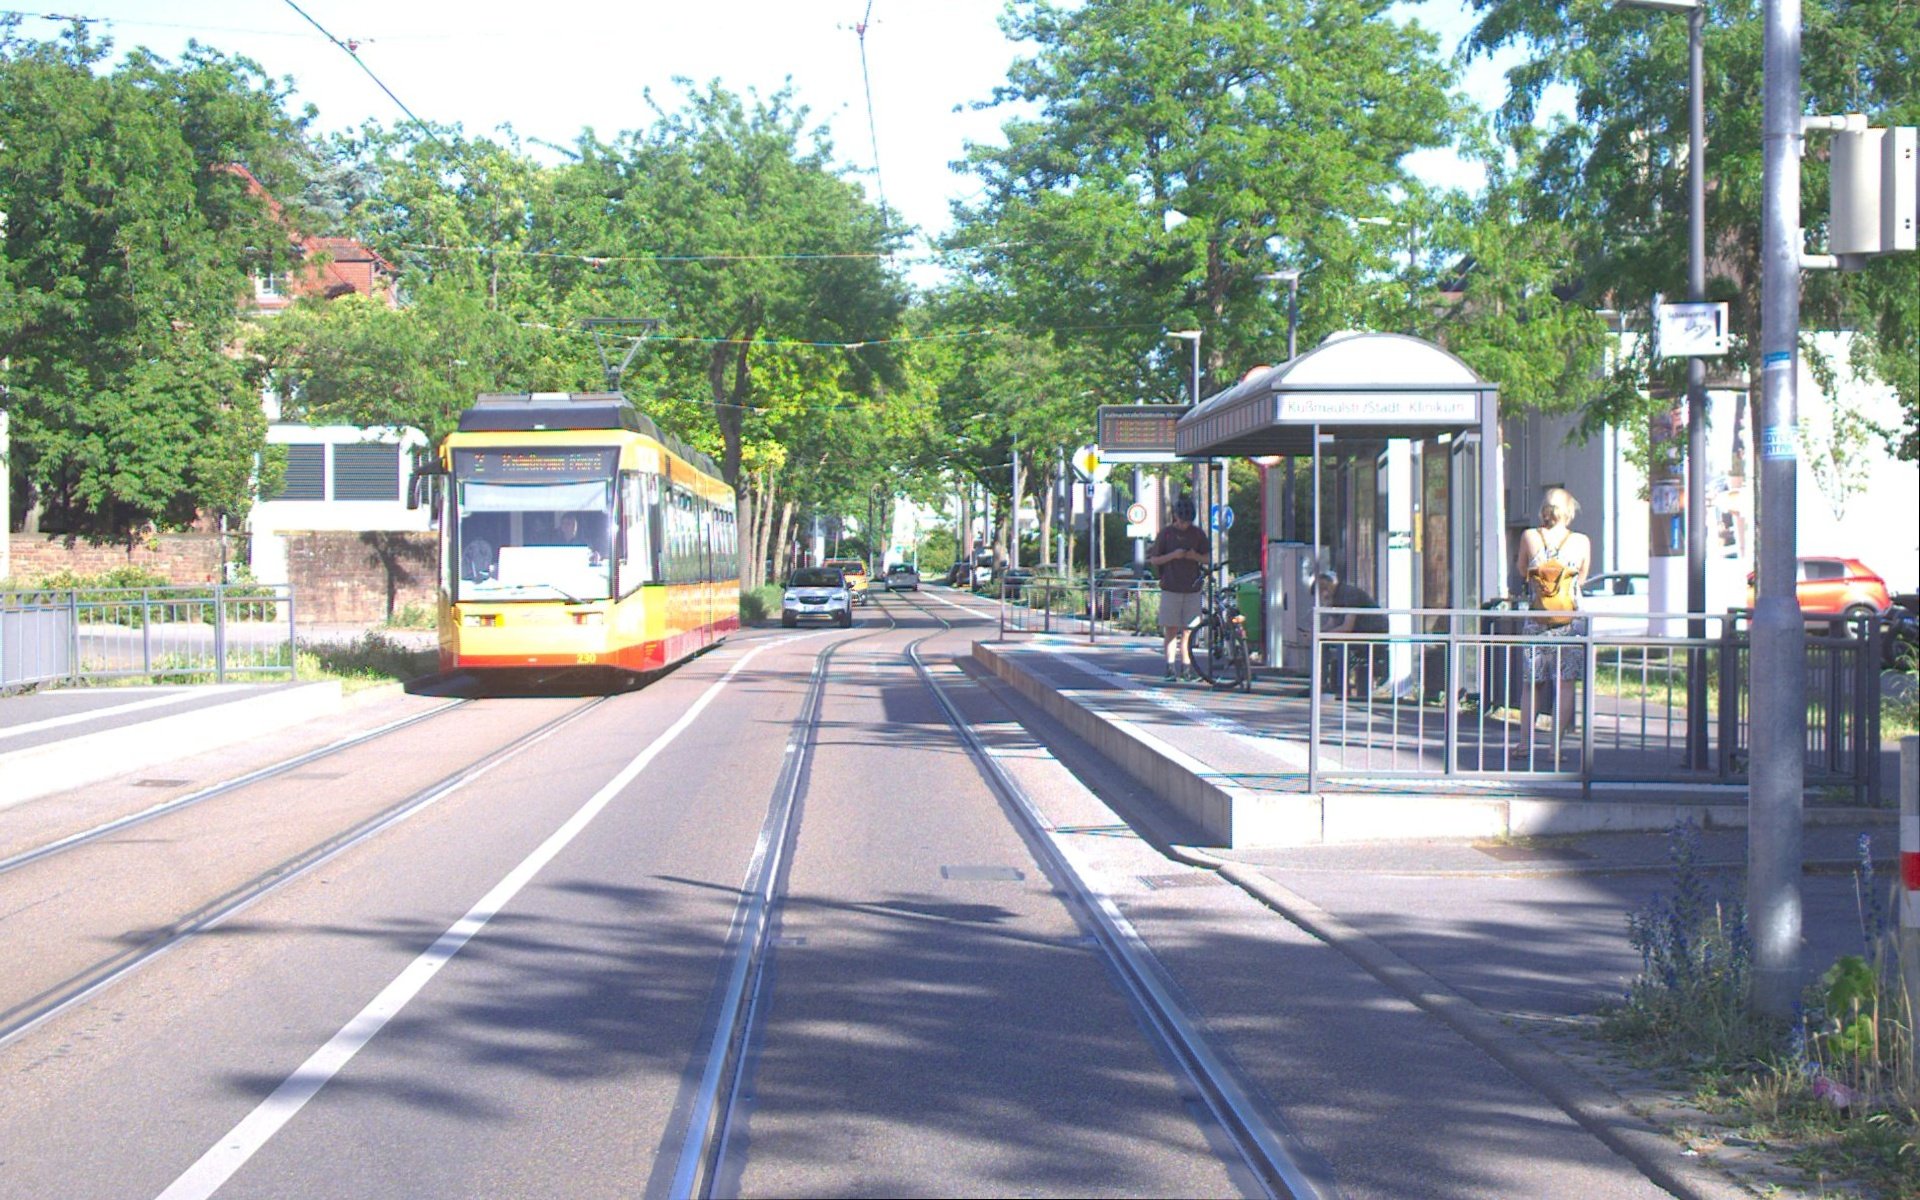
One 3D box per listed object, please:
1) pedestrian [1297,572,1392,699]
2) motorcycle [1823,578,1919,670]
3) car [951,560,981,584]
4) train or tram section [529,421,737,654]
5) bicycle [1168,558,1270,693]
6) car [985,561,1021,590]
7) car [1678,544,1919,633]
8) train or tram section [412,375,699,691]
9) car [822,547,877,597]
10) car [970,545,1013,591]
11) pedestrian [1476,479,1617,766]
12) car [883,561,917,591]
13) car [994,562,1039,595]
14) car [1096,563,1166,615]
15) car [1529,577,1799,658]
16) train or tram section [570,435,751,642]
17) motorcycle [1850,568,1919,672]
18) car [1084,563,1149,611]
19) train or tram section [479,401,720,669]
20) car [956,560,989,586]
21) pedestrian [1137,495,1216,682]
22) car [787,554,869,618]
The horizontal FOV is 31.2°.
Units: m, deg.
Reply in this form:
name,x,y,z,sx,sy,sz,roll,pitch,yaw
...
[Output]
name,x,y,z,sx,sy,sz,roll,pitch,yaw
pedestrian,3.477,0.314,31.108,0.738,1.113,0.658,1,1,-2
motorcycle,12.255,0.299,44.340,1.998,1.154,0.862,0,0,-8
car,0.433,-2.049,249.290,2.003,1.669,4.392,-2,1,2
train or tram section,-5.073,-0.973,54.388,2.803,3.448,6.669,0,1,-2
bicycle,2.427,0.226,32.427,0.619,1.225,1.967,1,1,-6
car,2.241,-1.280,178.209,1.627,1.393,3.646,-3,1,-2
car,15.941,-0.227,65.198,4.162,1.636,1.982,0,1,-3
train or tram section,-4.692,-0.777,41.037,2.803,3.448,6.669,0,1,-2
car,-4.440,-1.113,137.758,1.993,1.959,4.935,0,1,-4
car,1.831,-1.862,199.647,2.245,2.645,5.586,0,1,-2
pedestrian,3.553,0.133,20.869,0.671,1.698,0.691,1,1,-3
car,-3.478,-1.395,198.219,1.866,1.669,4.173,-1,1,-2
car,2.760,-1.064,168.517,1.784,1.443,4.302,-3,1,-3
car,5.136,-0.345,103.771,1.748,1.490,4.444,-1,1,-2
car,12.837,0.335,62.924,4.604,1.461,1.981,0,-1,4
train or tram section,-5.231,-1.078,61.039,2.803,3.448,6.669,0,1,-2
motorcycle,12.234,0.236,42.745,2.077,1.270,0.862,0,0,-8
car,4.975,-0.431,109.503,1.748,1.490,3.997,-1,1,-2
train or tram section,-4.883,-0.883,47.718,2.803,3.448,6.669,0,1,-2
car,0.833,-1.794,231.885,2.002,1.669,4.393,-2,1,-2
pedestrian,2.180,-0.118,34.685,0.711,1.847,0.729,1,1,0
car,-3.475,-0.380,90.958,1.765,1.658,4.210,0,1,3
